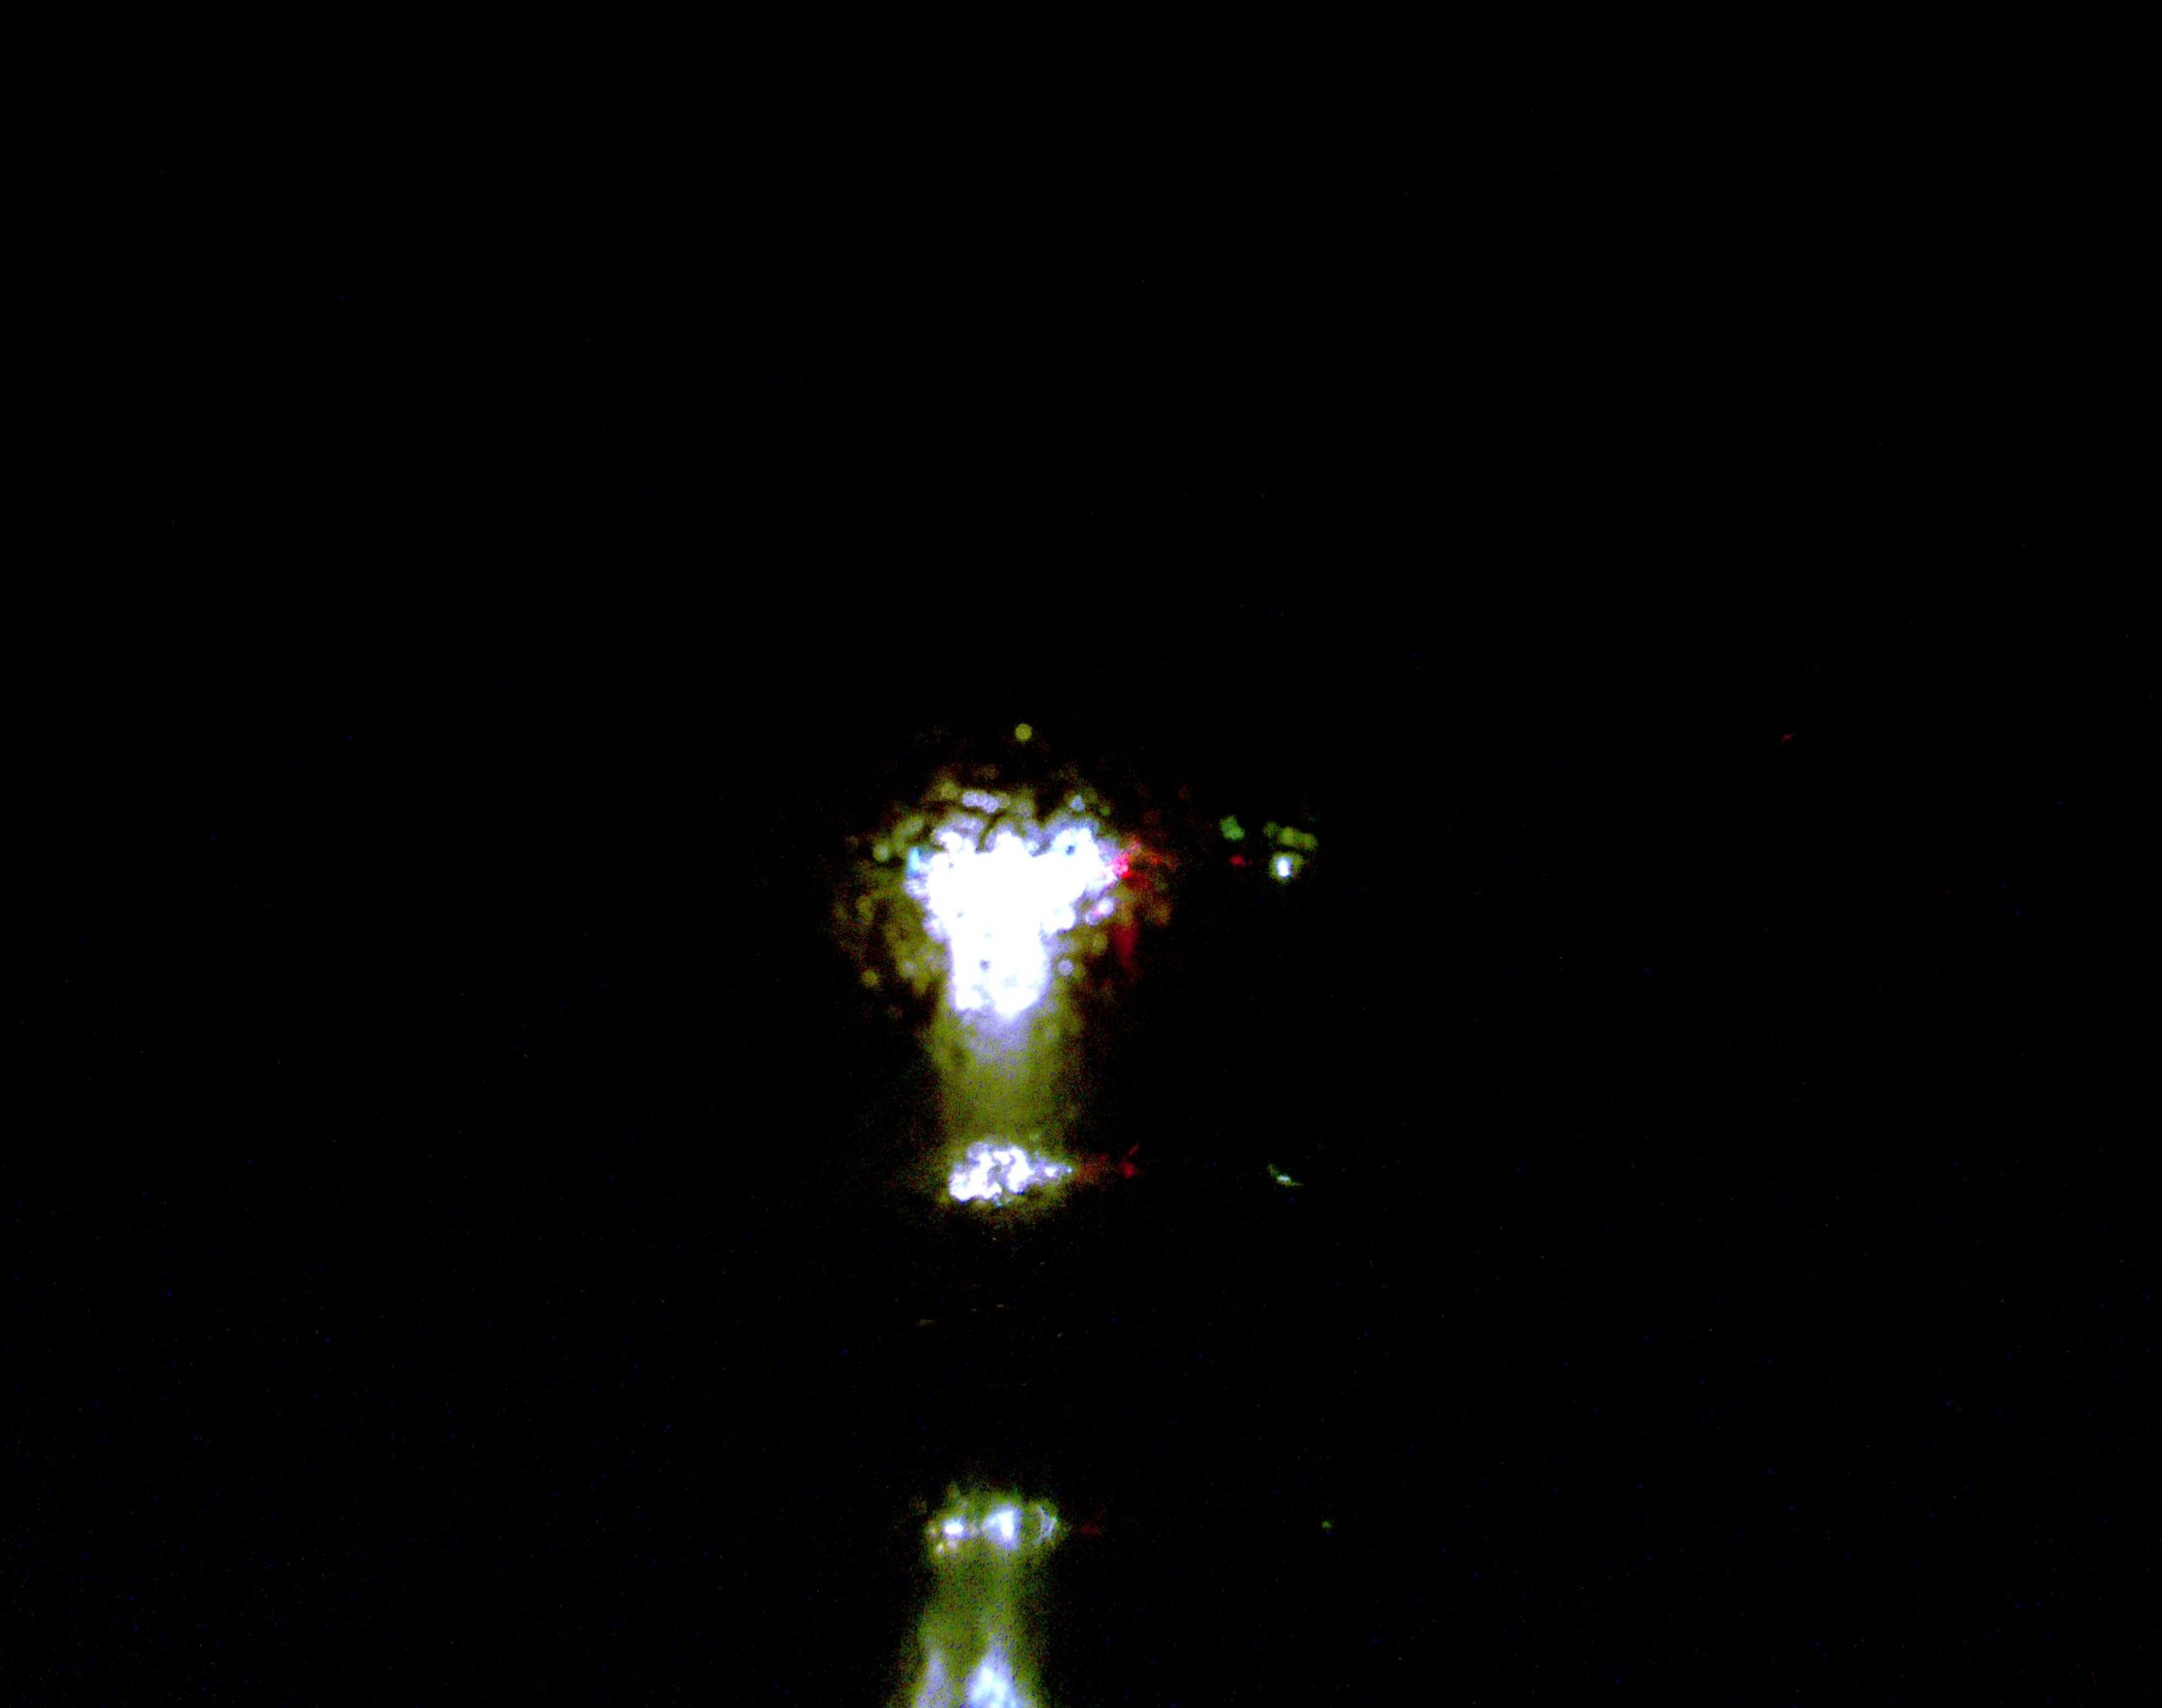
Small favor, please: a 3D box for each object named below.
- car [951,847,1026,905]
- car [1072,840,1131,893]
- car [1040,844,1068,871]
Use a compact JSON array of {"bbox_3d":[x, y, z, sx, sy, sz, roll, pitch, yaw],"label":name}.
[{"bbox_3d":[-2.755,0.633,25.131,1.894,1.644,3.790,0,0,-1],"label":"car"},{"bbox_3d":[0.687,0.377,26.989,1.802,1.621,4.001,0,0,1],"label":"car"},{"bbox_3d":[-1.801,0.232,53.188,1.786,1.691,3.995,0,0,-3],"label":"car"}]
